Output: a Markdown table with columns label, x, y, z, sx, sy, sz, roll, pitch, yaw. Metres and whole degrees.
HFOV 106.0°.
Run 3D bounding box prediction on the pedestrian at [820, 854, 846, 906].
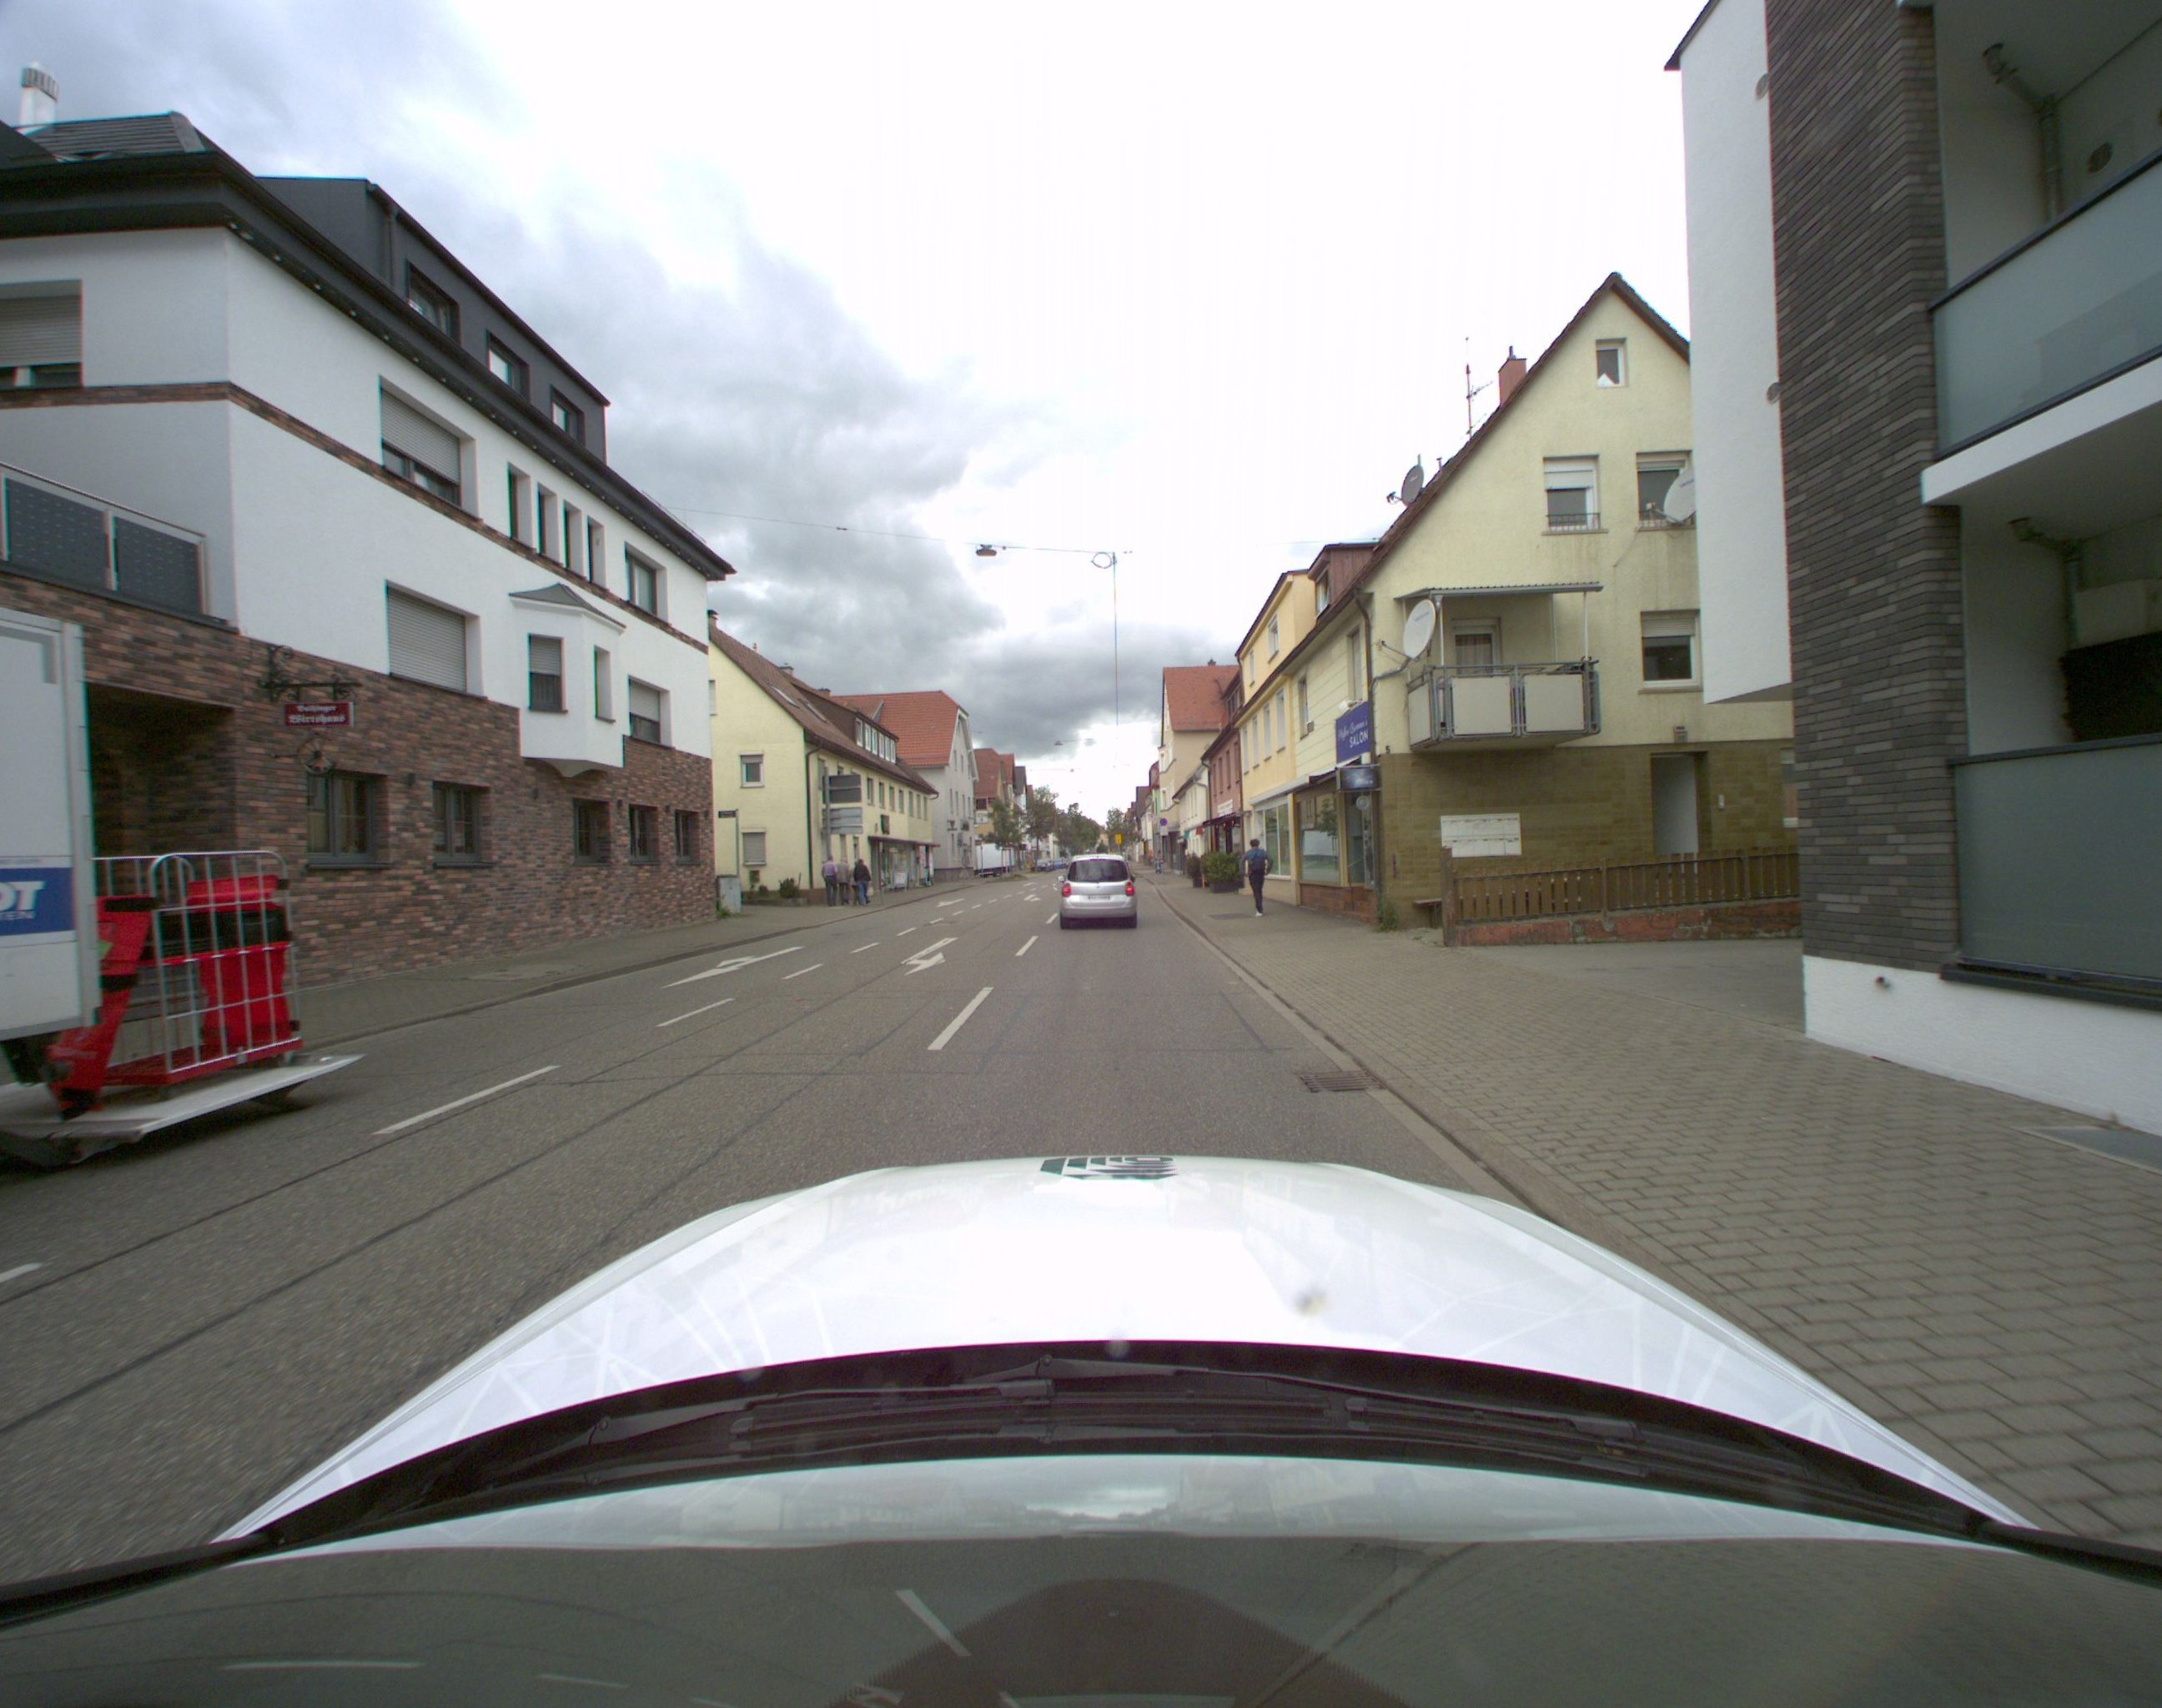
| label | x | y | z | sx | sy | sz | roll | pitch | yaw |
| --- | --- | --- | --- | --- | --- | --- | --- | --- | --- |
| pedestrian | -8.594 | 0.889 | 28.226 | 0.645 | 1.757 | 0.688 | 0 | 0 | 1 |

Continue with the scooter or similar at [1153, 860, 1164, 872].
| label | x | y | z | sx | sy | sz | roll | pitch | yaw |
| --- | --- | --- | --- | --- | --- | --- | --- | --- | --- |
| scooter or similar | 5.836 | 0.919 | 61.459 | 0.678 | 0.833 | 0.823 | -4 | 0 | 1 |

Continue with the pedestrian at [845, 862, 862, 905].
| label | x | y | z | sx | sy | sz | roll | pitch | yaw |
| --- | --- | --- | --- | --- | --- | --- | --- | --- | --- |
| pedestrian | -8.105 | 1.047 | 28.981 | 0.424 | 1.525 | 0.554 | 0 | 0 | 1 |

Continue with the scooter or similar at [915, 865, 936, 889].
| label | x | y | z | sx | sy | sz | roll | pitch | yaw |
| --- | --- | --- | --- | --- | --- | --- | --- | --- | --- |
| scooter or similar | -8.943 | 1.315 | 46.901 | 0.573 | 1.269 | 2.549 | -2 | 0 | 2 |

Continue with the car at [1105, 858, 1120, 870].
| label | x | y | z | sx | sy | sz | roll | pitch | yaw |
| --- | --- | --- | --- | --- | --- | --- | --- | --- | --- |
| car | 3.833 | 1.169 | 98.861 | 1.806 | 1.354 | 4.002 | -2 | 0 | 2 |

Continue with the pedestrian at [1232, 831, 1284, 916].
| label | x | y | z | sx | sy | sz | roll | pitch | yaw |
| --- | --- | --- | --- | --- | --- | --- | --- | --- | --- |
| pedestrian | 3.925 | 0.432 | 18.159 | 0.886 | 1.787 | 0.785 | -4 | -1 | 1 |

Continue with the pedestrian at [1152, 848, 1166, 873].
| label | x | y | z | sx | sy | sz | roll | pitch | yaw |
| --- | --- | --- | --- | --- | --- | --- | --- | --- | --- |
| pedestrian | 5.823 | 0.462 | 60.703 | 0.886 | 1.787 | 0.785 | -4 | -1 | 1 |

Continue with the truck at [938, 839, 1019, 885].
| label | x | y | z | sx | sy | sz | roll | pitch | yaw |
| --- | --- | --- | --- | --- | --- | --- | --- | --- | --- |
| truck | -9.023 | 0.664 | 72.223 | 2.571 | 3.857 | 6.889 | -3 | -1 | 44 |

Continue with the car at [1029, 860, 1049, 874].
| label | x | y | z | sx | sy | sz | roll | pitch | yaw |
| --- | --- | --- | --- | --- | --- | --- | --- | --- | --- |
| car | -4.536 | 1.399 | 88.975 | 1.806 | 1.354 | 4.002 | -2 | 0 | 2 |

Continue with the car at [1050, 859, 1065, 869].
| label | x | y | z | sx | sy | sz | roll | pitch | yaw |
| --- | --- | --- | --- | --- | --- | --- | --- | --- | --- |
| car | -3.340 | 1.411 | 115.689 | 1.806 | 1.354 | 4.002 | -2 | 0 | 2 |

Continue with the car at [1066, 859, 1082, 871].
| label | x | y | z | sx | sy | sz | roll | pitch | yaw |
| --- | --- | --- | --- | --- | --- | --- | --- | --- | --- |
| car | -0.909 | 1.421 | 105.698 | 1.806 | 1.354 | 3.858 | -2 | 0 | 2 |

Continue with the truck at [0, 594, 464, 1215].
| label | x | y | z | sx | sy | sz | roll | pitch | yaw |
| --- | --- | --- | --- | --- | --- | --- | --- | --- | --- |
| truck | -6.374 | 0.272 | 2.454 | 2.426 | 2.953 | 8.365 | -3 | -1 | 1 |

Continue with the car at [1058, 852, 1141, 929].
| label | x | y | z | sx | sy | sz | roll | pitch | yaw |
| --- | --- | --- | --- | --- | --- | --- | --- | --- | --- |
| car | 0.425 | 0.765 | 18.775 | 1.700 | 1.579 | 4.000 | 0 | 0 | 1 |

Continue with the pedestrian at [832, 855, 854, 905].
| label | x | y | z | sx | sy | sz | roll | pitch | yaw |
| --- | --- | --- | --- | --- | --- | --- | --- | --- | --- |
| pedestrian | -8.597 | 0.931 | 29.454 | 0.577 | 1.757 | 0.688 | 0 | 0 | 1 |

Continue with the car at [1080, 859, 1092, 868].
| label | x | y | z | sx | sy | sz | roll | pitch | yaw |
| --- | --- | --- | --- | --- | --- | --- | --- | --- | --- |
| car | 0.869 | 1.554 | 131.602 | 1.806 | 1.354 | 4.002 | -2 | 0 | 2 |

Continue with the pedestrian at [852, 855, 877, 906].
| label | x | y | z | sx | sy | sz | roll | pitch | yaw |
| --- | --- | --- | --- | --- | --- | --- | --- | --- | --- |
| pedestrian | -7.600 | 0.932 | 28.640 | 0.660 | 1.757 | 0.688 | 0 | 0 | 1 |

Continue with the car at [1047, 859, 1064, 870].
| label | x | y | z | sx | sy | sz | roll | pitch | yaw |
| --- | --- | --- | --- | --- | --- | --- | --- | --- | --- |
| car | -3.155 | 1.290 | 100.332 | 1.806 | 1.354 | 4.002 | -2 | 0 | 2 |
